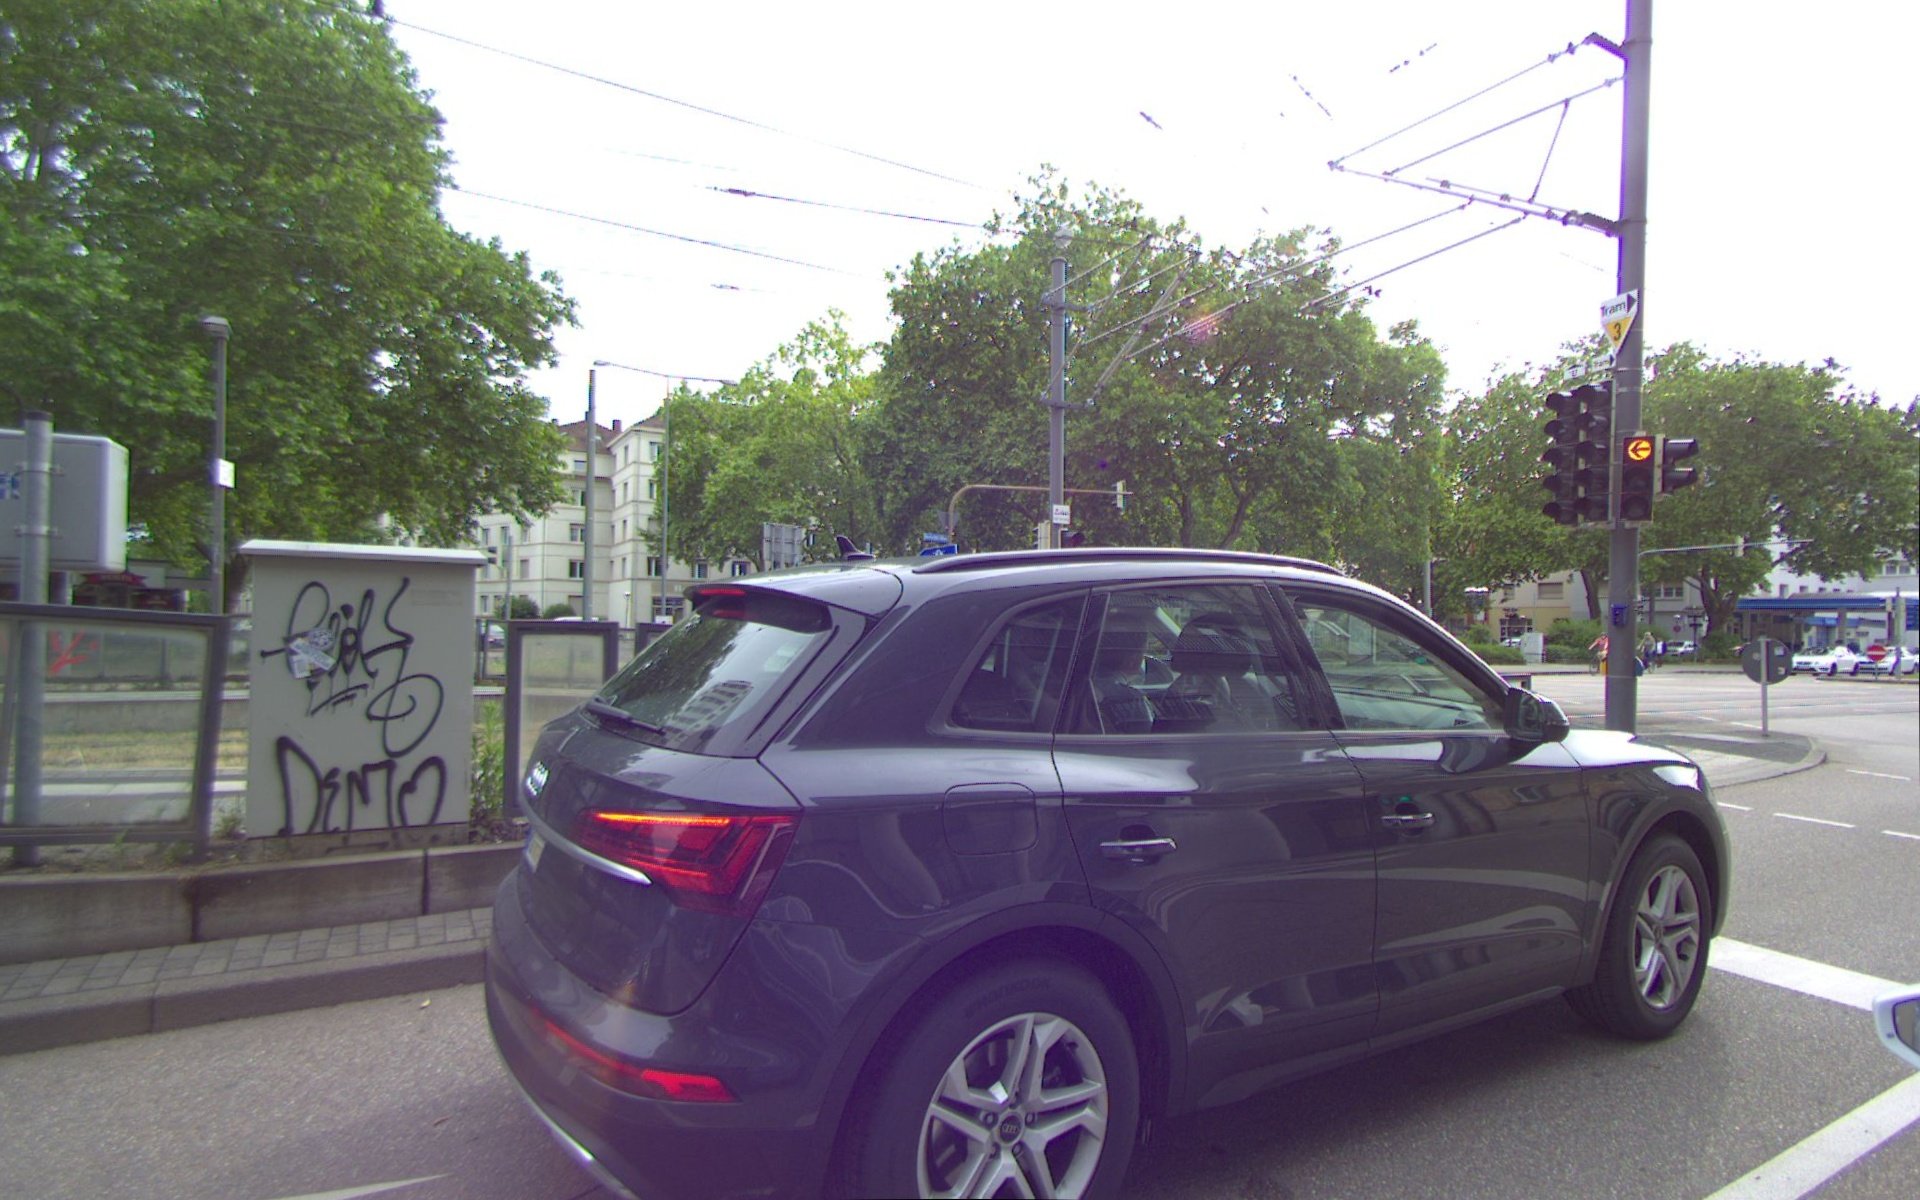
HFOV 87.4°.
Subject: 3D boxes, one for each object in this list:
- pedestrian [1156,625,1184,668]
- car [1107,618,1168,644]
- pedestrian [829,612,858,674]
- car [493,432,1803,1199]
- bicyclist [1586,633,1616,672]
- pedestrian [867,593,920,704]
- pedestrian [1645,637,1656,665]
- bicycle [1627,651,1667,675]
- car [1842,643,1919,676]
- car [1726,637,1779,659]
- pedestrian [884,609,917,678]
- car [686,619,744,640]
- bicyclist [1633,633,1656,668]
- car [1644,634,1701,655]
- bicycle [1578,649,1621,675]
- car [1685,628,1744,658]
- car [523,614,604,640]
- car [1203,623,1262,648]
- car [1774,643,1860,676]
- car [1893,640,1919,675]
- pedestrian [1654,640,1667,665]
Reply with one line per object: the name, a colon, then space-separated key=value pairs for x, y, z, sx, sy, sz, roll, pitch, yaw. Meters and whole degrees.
pedestrian: x=8.492 y=1.891 z=40.682 sx=0.748 sy=1.712 sz=0.799 roll=2 pitch=-1 yaw=-34
car: x=15.113 y=2.668 z=85.765 sx=4.766 sy=2.129 sz=2.071 roll=0 pitch=-2 yaw=44
pedestrian: x=-3.128 y=1.146 z=26.932 sx=0.517 sy=1.633 sz=0.523 roll=2 pitch=0 yaw=28
car: x=0.835 y=0.619 z=3.523 sx=4.317 sy=1.669 sz=1.902 roll=2 pitch=0 yaw=-30
bicyclist: x=27.344 y=2.232 z=42.844 sx=0.983 sy=1.659 sz=0.702 roll=2 pitch=-3 yaw=-31
pedestrian: x=-1.089 y=0.775 z=16.464 sx=0.619 sy=1.773 sz=0.651 roll=2 pitch=0 yaw=-28
pedestrian: x=36.677 y=2.697 z=53.331 sx=0.370 sy=1.498 sz=0.358 roll=2 pitch=-1 yaw=-36
bicycle: x=31.372 y=2.860 z=45.879 sx=1.969 sy=1.078 sz=0.724 roll=2 pitch=-3 yaw=-30
car: x=47.704 y=3.043 z=51.686 sx=5.636 sy=1.546 sz=1.832 roll=2 pitch=0 yaw=-30
car: x=54.635 y=3.305 z=69.241 sx=3.363 sy=1.376 sz=1.694 roll=2 pitch=0 yaw=-30
pedestrian: x=-1.703 y=1.226 z=28.557 sx=0.680 sy=1.911 sz=0.684 roll=2 pitch=0 yaw=-28
car: x=-18.777 y=2.285 z=76.952 sx=3.953 sy=1.505 sz=1.788 roll=2 pitch=-1 yaw=-31
bicyclist: x=31.279 y=2.290 z=45.898 sx=0.748 sy=1.582 sz=0.580 roll=2 pitch=-3 yaw=-30
car: x=52.477 y=3.290 z=74.013 sx=3.953 sy=1.486 sz=1.984 roll=2 pitch=-1 yaw=-30
bicycle: x=27.224 y=2.652 z=42.736 sx=1.970 sy=1.078 sz=0.723 roll=2 pitch=-3 yaw=-31
car: x=53.688 y=3.063 z=71.486 sx=3.953 sy=2.040 sz=1.984 roll=2 pitch=-2 yaw=-30
car: x=-27.011 y=1.873 z=68.454 sx=4.789 sy=1.686 sz=1.979 roll=2 pitch=-2 yaw=-38
car: x=24.833 y=3.236 z=91.620 sx=4.766 sy=2.129 sz=2.071 roll=0 pitch=-2 yaw=44
car: x=41.454 y=2.852 z=48.560 sx=4.362 sy=1.467 sz=1.833 roll=2 pitch=0 yaw=-30
car: x=53.303 y=3.153 z=55.067 sx=5.088 sy=1.807 sz=1.694 roll=2 pitch=0 yaw=-30
pedestrian: x=36.985 y=2.766 z=53.047 sx=0.465 sy=1.343 sz=0.452 roll=2 pitch=-1 yaw=-36
